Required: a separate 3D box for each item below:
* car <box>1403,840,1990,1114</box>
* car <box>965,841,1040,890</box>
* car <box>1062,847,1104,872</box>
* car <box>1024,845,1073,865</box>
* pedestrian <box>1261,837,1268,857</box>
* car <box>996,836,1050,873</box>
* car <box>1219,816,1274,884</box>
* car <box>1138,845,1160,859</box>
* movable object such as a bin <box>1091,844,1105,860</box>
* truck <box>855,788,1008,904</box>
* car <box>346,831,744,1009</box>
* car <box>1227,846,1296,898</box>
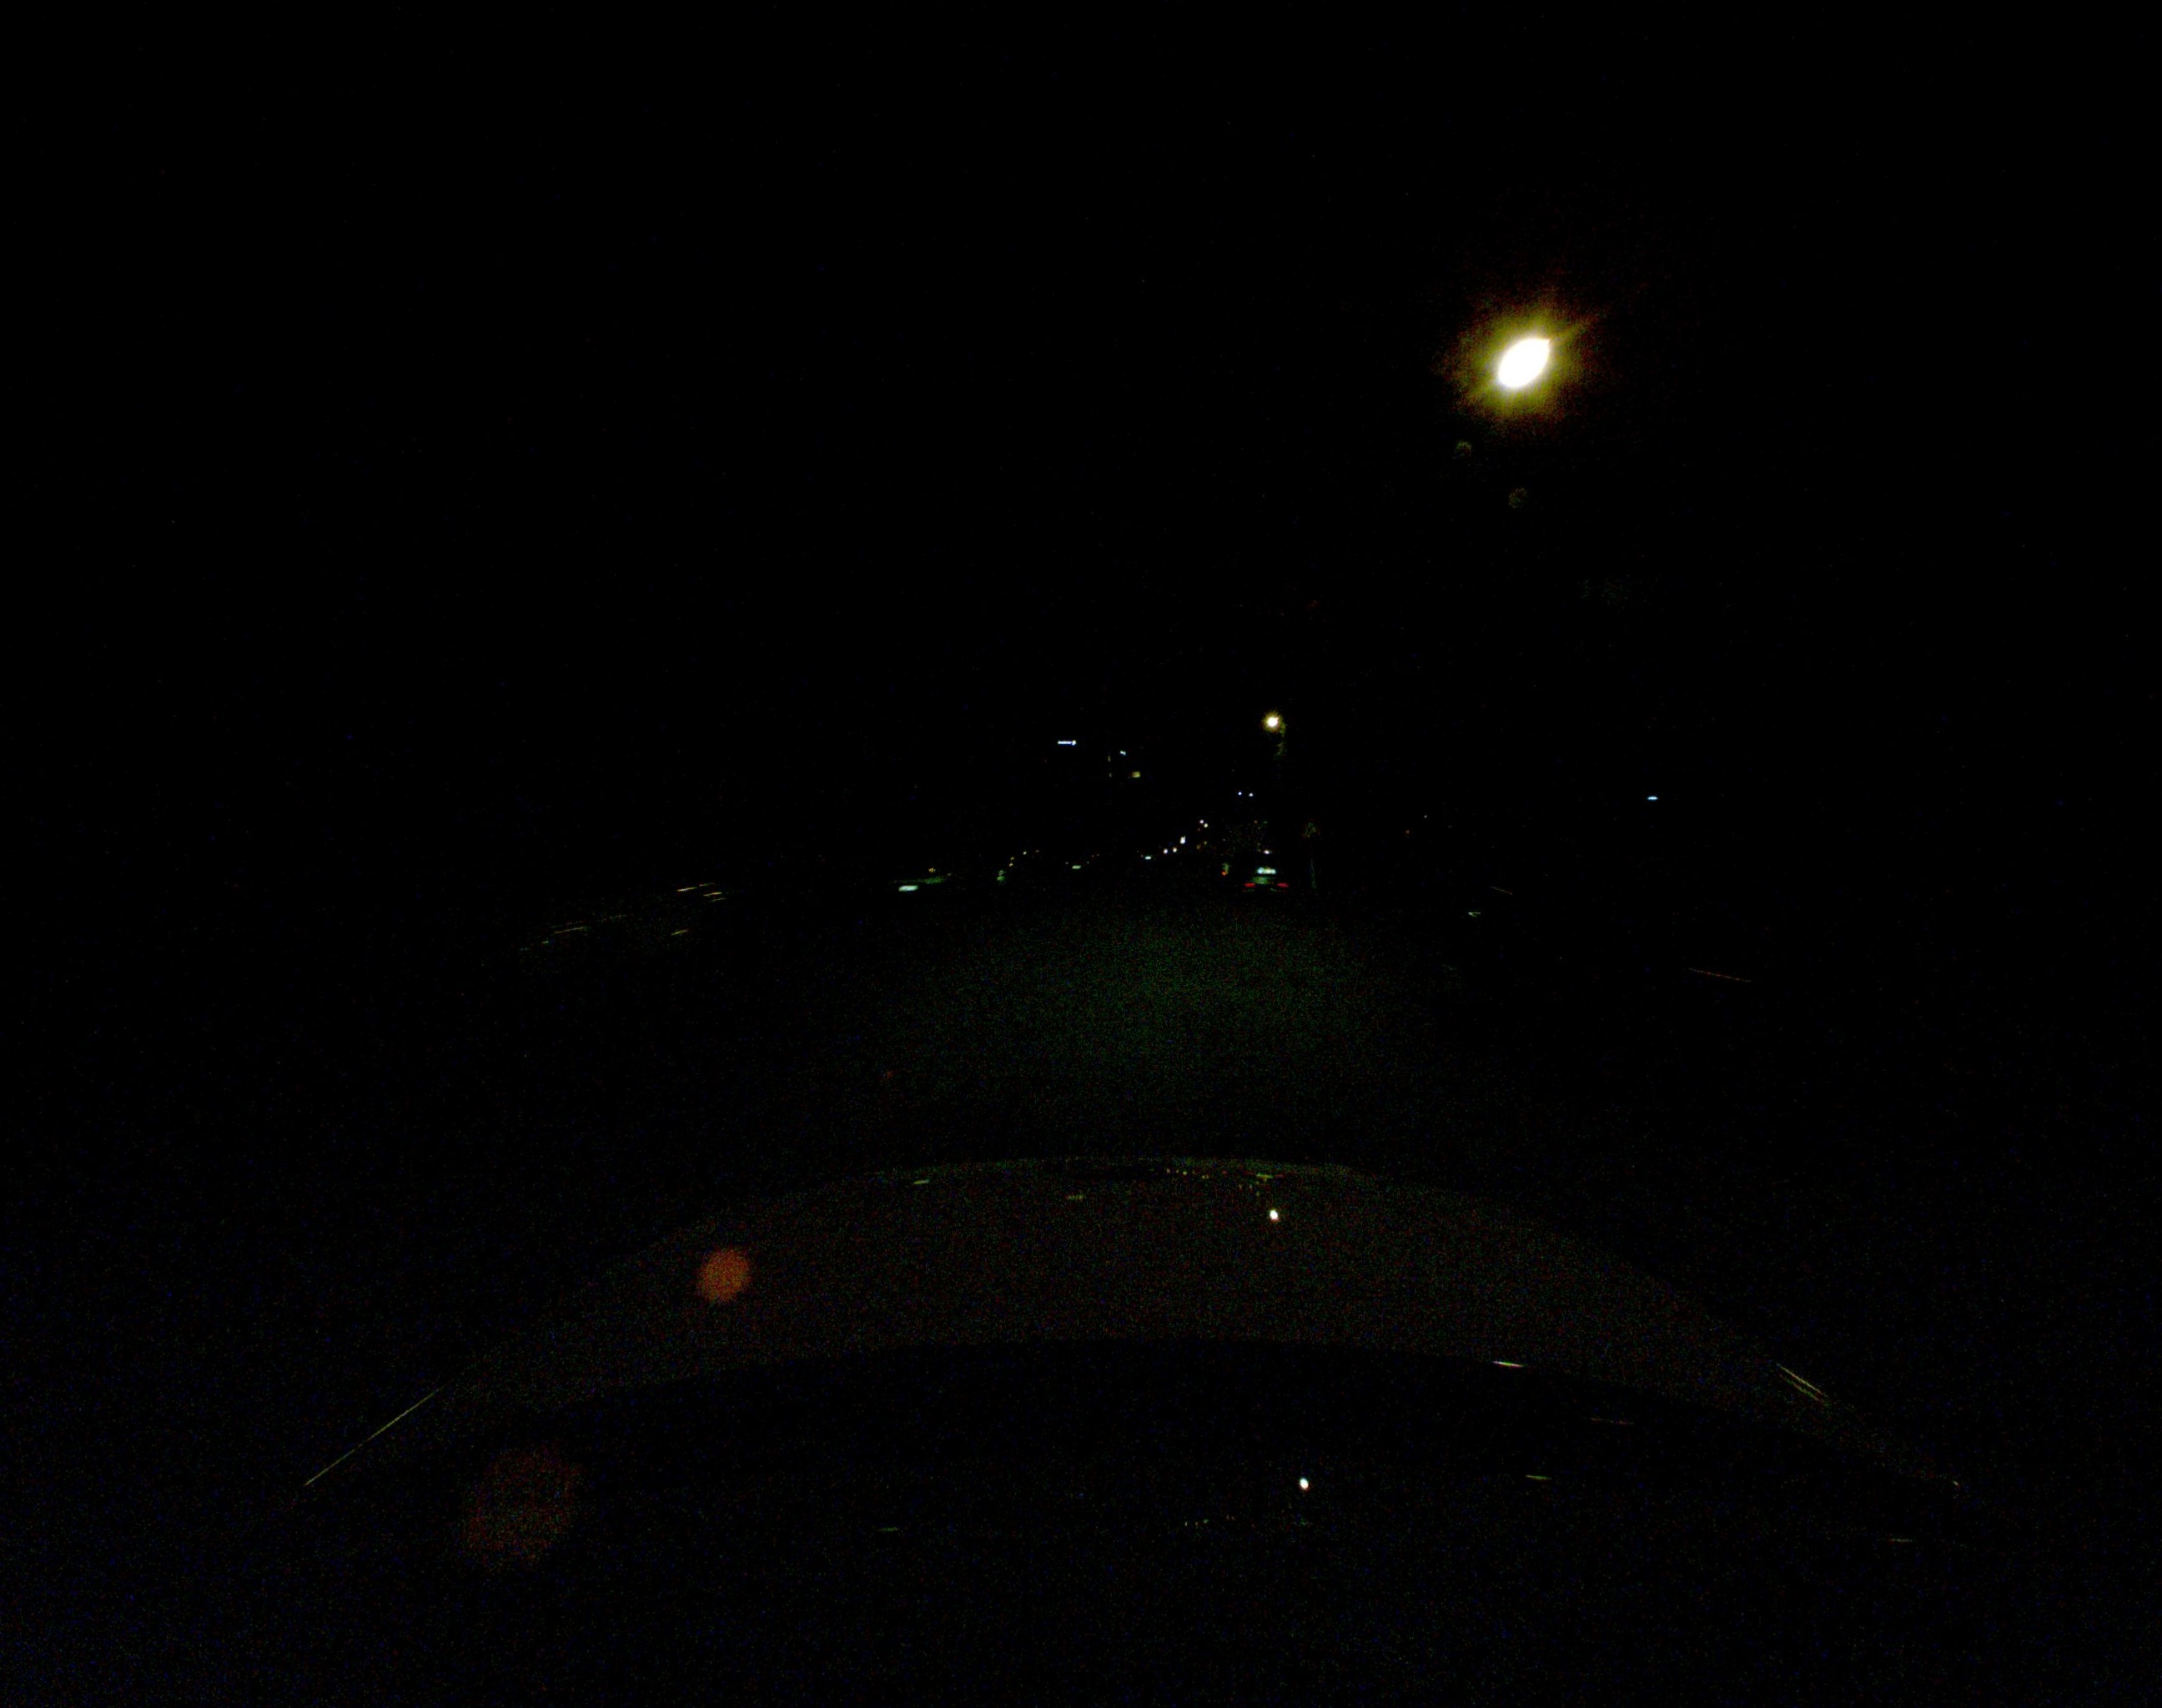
[{"bbox_3d":[4.221,0.666,6.530,1.705,1.508,4.000,-1,0,0],"label":"car"},{"bbox_3d":[-3.143,0.417,33.600,1.818,1.816,4.852,-2,0,10],"label":"car"},{"bbox_3d":[0.164,0.329,51.621,1.743,1.526,4.337,-1,0,13],"label":"car"},{"bbox_3d":[-2.833,0.096,72.340,3.961,1.571,1.823,-2,0,10],"label":"car"},{"bbox_3d":[17.256,-0.623,76.576,0.566,1.852,0.823,-1,0,12],"label":"pedestrian"},{"bbox_3d":[-3.877,-0.017,55.161,1.979,2.321,4.987,-3,0,15],"label":"car"},{"bbox_3d":[6.734,-0.169,33.394,2.008,2.526,6.069,0,1,10],"label":"car"},{"bbox_3d":[7.645,-0.235,90.922,1.898,1.404,4.352,-2,0,12],"label":"car"},{"bbox_3d":[1.674,-0.175,78.878,1.157,1.495,1.068,-2,0,8],"label":"movable object such as a bin"},{"bbox_3d":[-4.669,-0.269,27.193,2.528,3.280,7.333,-1,0,10],"label":"truck"},{"bbox_3d":[-6.434,0.652,10.650,1.986,1.772,4.693,-2,0,1],"label":"car"},{"bbox_3d":[5.727,0.513,26.343,1.701,1.508,4.650,-1,0,7],"label":"car"}]
